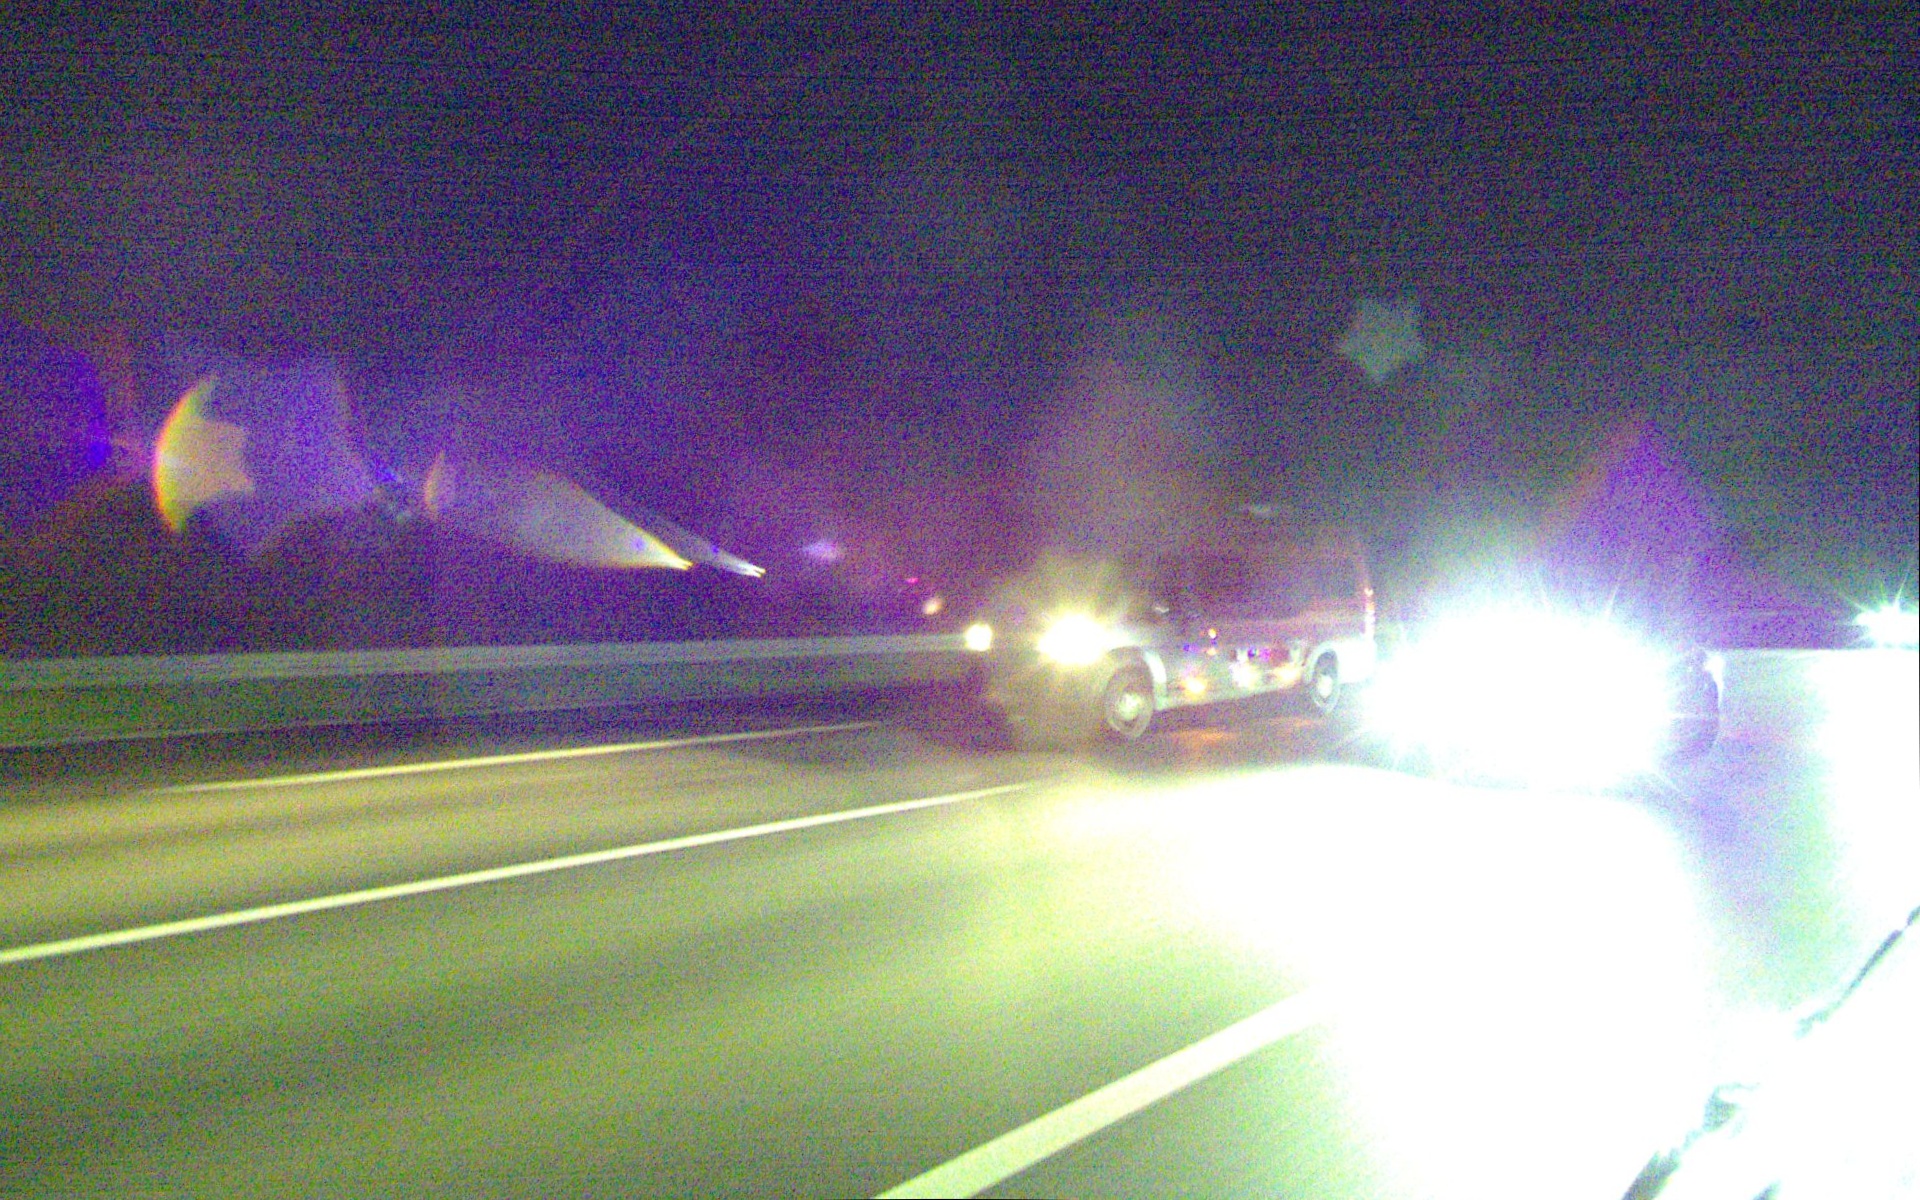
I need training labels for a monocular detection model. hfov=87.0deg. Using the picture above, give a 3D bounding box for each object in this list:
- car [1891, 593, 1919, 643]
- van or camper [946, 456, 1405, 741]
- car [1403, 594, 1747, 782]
[{"bbox_3d":[32.511,0.594,33.681,4.151,1.560,1.794,0,1,-41],"label":"car"},{"bbox_3d":[3.075,-0.015,13.002,6.685,2.807,2.211,0,0,-41],"label":"van or camper"},{"bbox_3d":[6.138,0.678,9.900,4.151,1.431,1.689,-1,1,-41],"label":"car"}]
